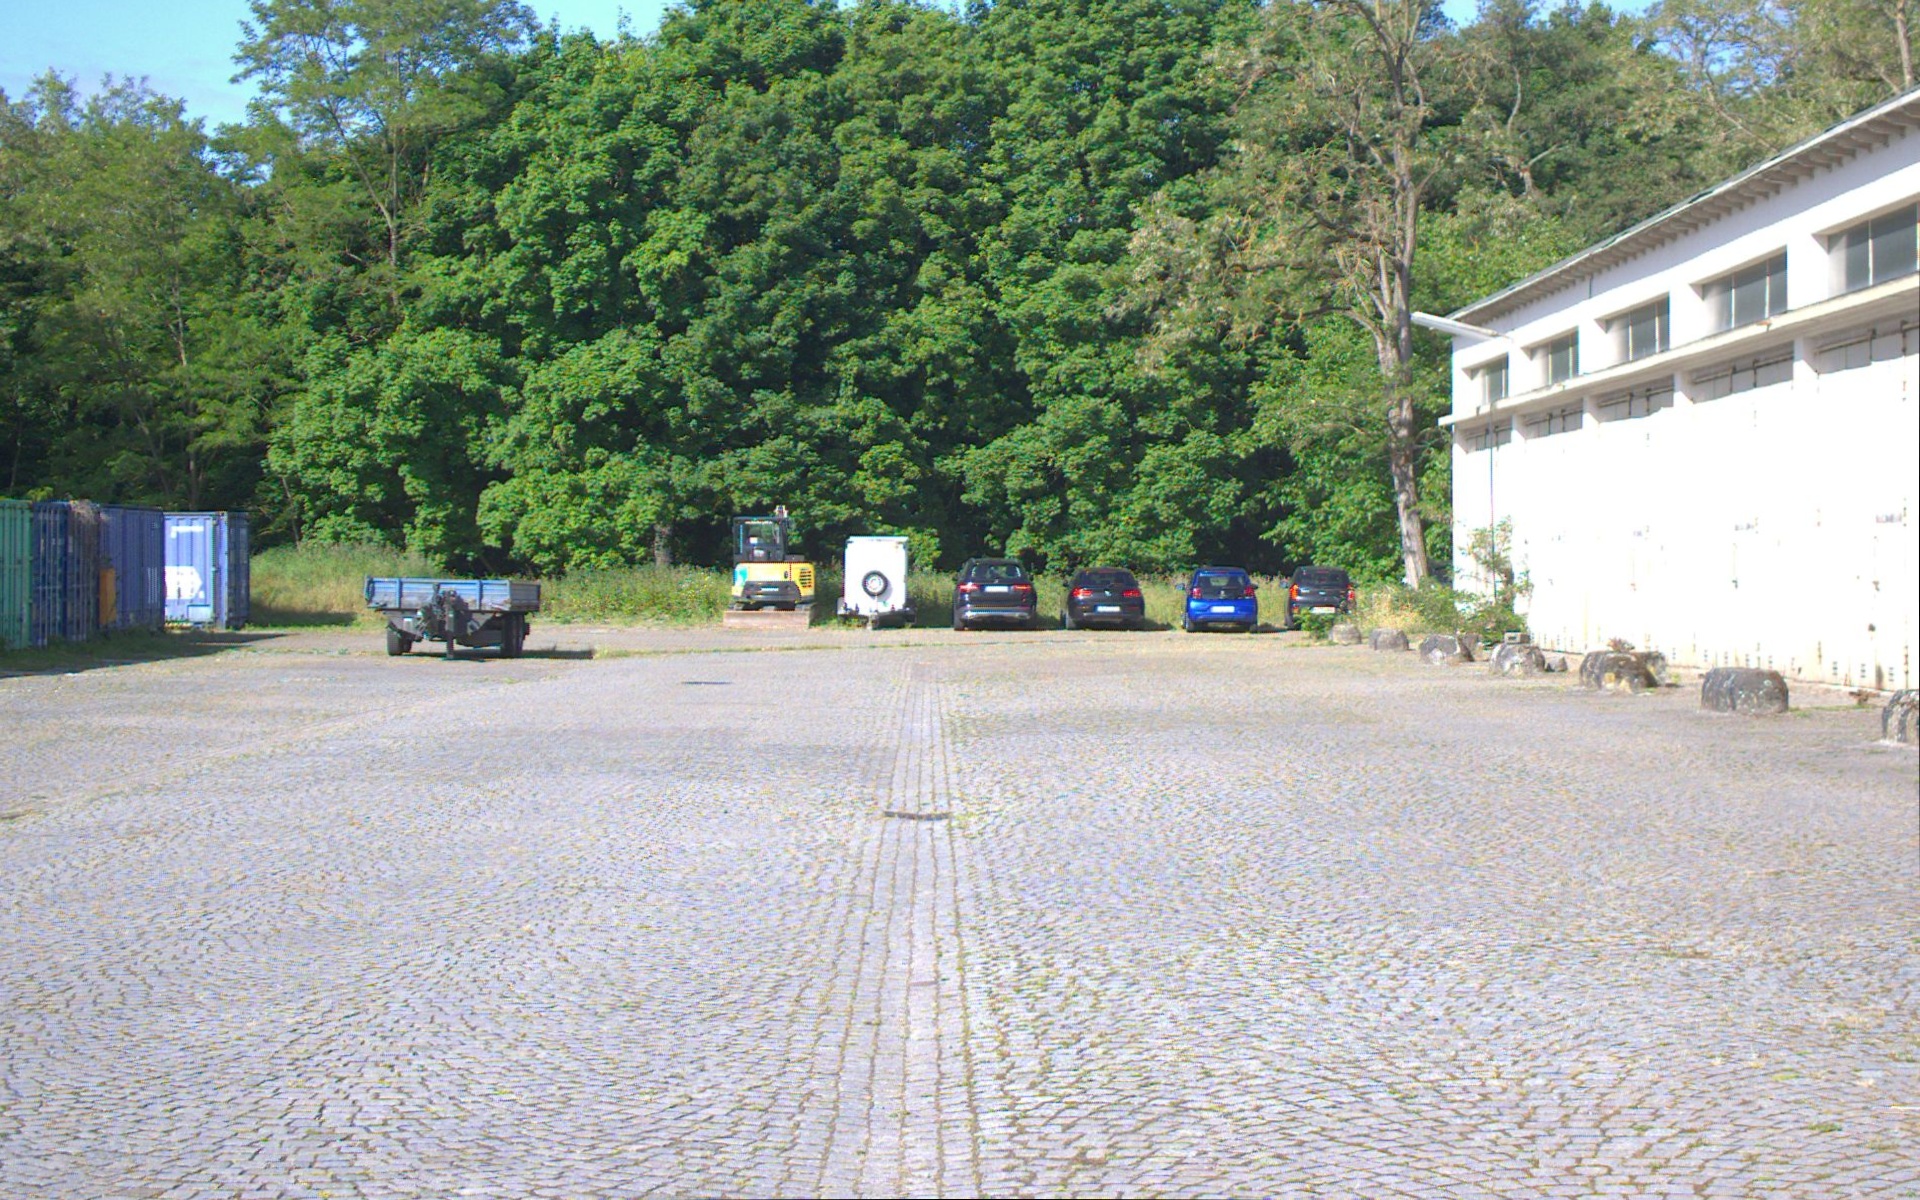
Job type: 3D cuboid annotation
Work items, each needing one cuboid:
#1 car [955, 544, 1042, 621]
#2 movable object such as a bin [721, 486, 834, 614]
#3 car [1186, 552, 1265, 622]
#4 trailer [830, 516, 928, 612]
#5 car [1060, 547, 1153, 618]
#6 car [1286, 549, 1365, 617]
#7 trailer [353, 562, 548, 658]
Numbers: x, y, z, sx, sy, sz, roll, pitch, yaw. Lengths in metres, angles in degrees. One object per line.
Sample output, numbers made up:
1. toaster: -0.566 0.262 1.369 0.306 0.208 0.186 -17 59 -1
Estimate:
1. car: 0.843 -0.425 78.516 1.863 1.584 4.296 1 2 -1
2. movable object such as a bin: -4.271 -1.241 81.470 2.306 2.887 5.751 1 2 0
3. car: 6.100 -0.317 78.832 1.744 1.431 4.182 1 2 5
4. trailer: -1.883 -0.889 80.884 2.193 2.087 5.752 1 2 -1
5. car: 3.332 -0.417 78.886 1.863 1.465 4.296 1 2 -1
6. car: 8.541 -0.427 80.241 1.744 1.431 4.182 1 2 6
7. trailer: -8.920 0.132 60.795 2.705 1.460 6.248 1 2 -2
